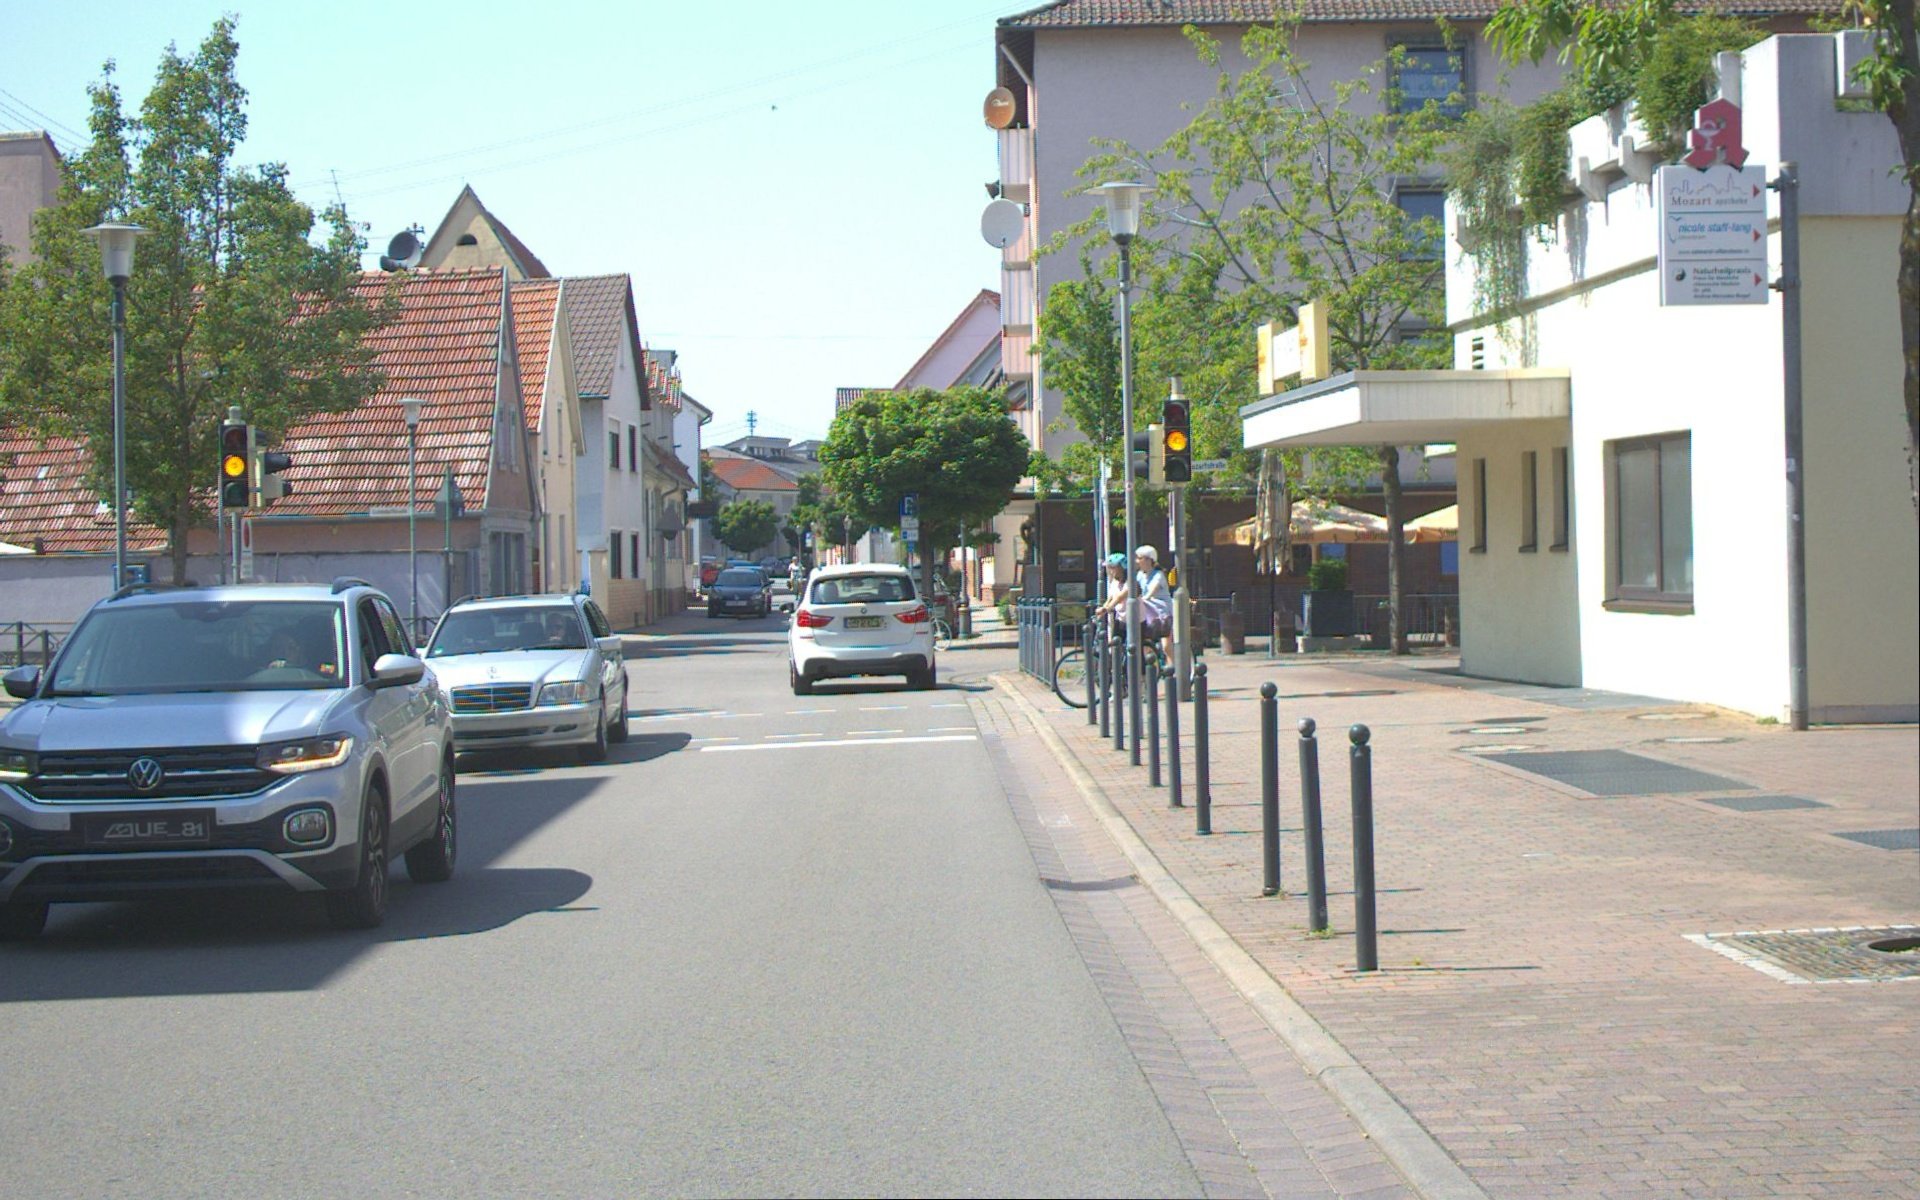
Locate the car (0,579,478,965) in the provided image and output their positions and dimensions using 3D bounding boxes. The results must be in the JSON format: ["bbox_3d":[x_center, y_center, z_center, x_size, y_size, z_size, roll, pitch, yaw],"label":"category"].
[{"bbox_3d":[-3.479,0.707,16.320,1.851,1.568,4.000,-1,1,-1],"label":"car"}]

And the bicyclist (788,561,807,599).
[{"bbox_3d":[-6.425,-0.801,135.992,0.673,1.478,0.770,-1,0,2],"label":"bicyclist"}]

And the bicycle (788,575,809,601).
[{"bbox_3d":[-6.408,-0.478,136.073,0.664,1.003,1.897,-1,0,2],"label":"bicycle"}]

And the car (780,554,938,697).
[{"bbox_3d":[-1.248,0.300,44.055,1.834,1.646,4.000,-3,0,0],"label":"car"}]

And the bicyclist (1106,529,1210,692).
[{"bbox_3d":[2.083,0.110,36.114,0.759,1.658,0.670,-4,1,-40],"label":"bicyclist"}]

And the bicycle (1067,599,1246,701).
[{"bbox_3d":[2.074,0.521,36.092,1.891,0.954,0.676,-4,1,-40],"label":"bicycle"}]

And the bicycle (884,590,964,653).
[{"bbox_3d":[-0.698,0.419,66.196,0.525,1.189,1.674,-1,0,-44],"label":"bicycle"}]

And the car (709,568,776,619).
[{"bbox_3d":[-6.678,-0.216,105.901,1.714,1.512,3.786,-1,0,1],"label":"car"}]

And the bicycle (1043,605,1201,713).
[{"bbox_3d":[1.634,0.583,34.411,0.675,0.954,1.893,-2,1,33],"label":"bicycle"}]

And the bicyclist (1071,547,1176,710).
[{"bbox_3d":[1.638,0.281,34.402,0.670,1.576,0.760,-2,1,33],"label":"bicyclist"}]

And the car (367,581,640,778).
[{"bbox_3d":[-4.010,0.649,30.858,1.880,1.459,4.436,-3,1,-1],"label":"car"}]

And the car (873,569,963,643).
[{"bbox_3d":[-0.887,0.111,74.969,1.805,1.496,4.000,-1,1,1],"label":"car"}]
